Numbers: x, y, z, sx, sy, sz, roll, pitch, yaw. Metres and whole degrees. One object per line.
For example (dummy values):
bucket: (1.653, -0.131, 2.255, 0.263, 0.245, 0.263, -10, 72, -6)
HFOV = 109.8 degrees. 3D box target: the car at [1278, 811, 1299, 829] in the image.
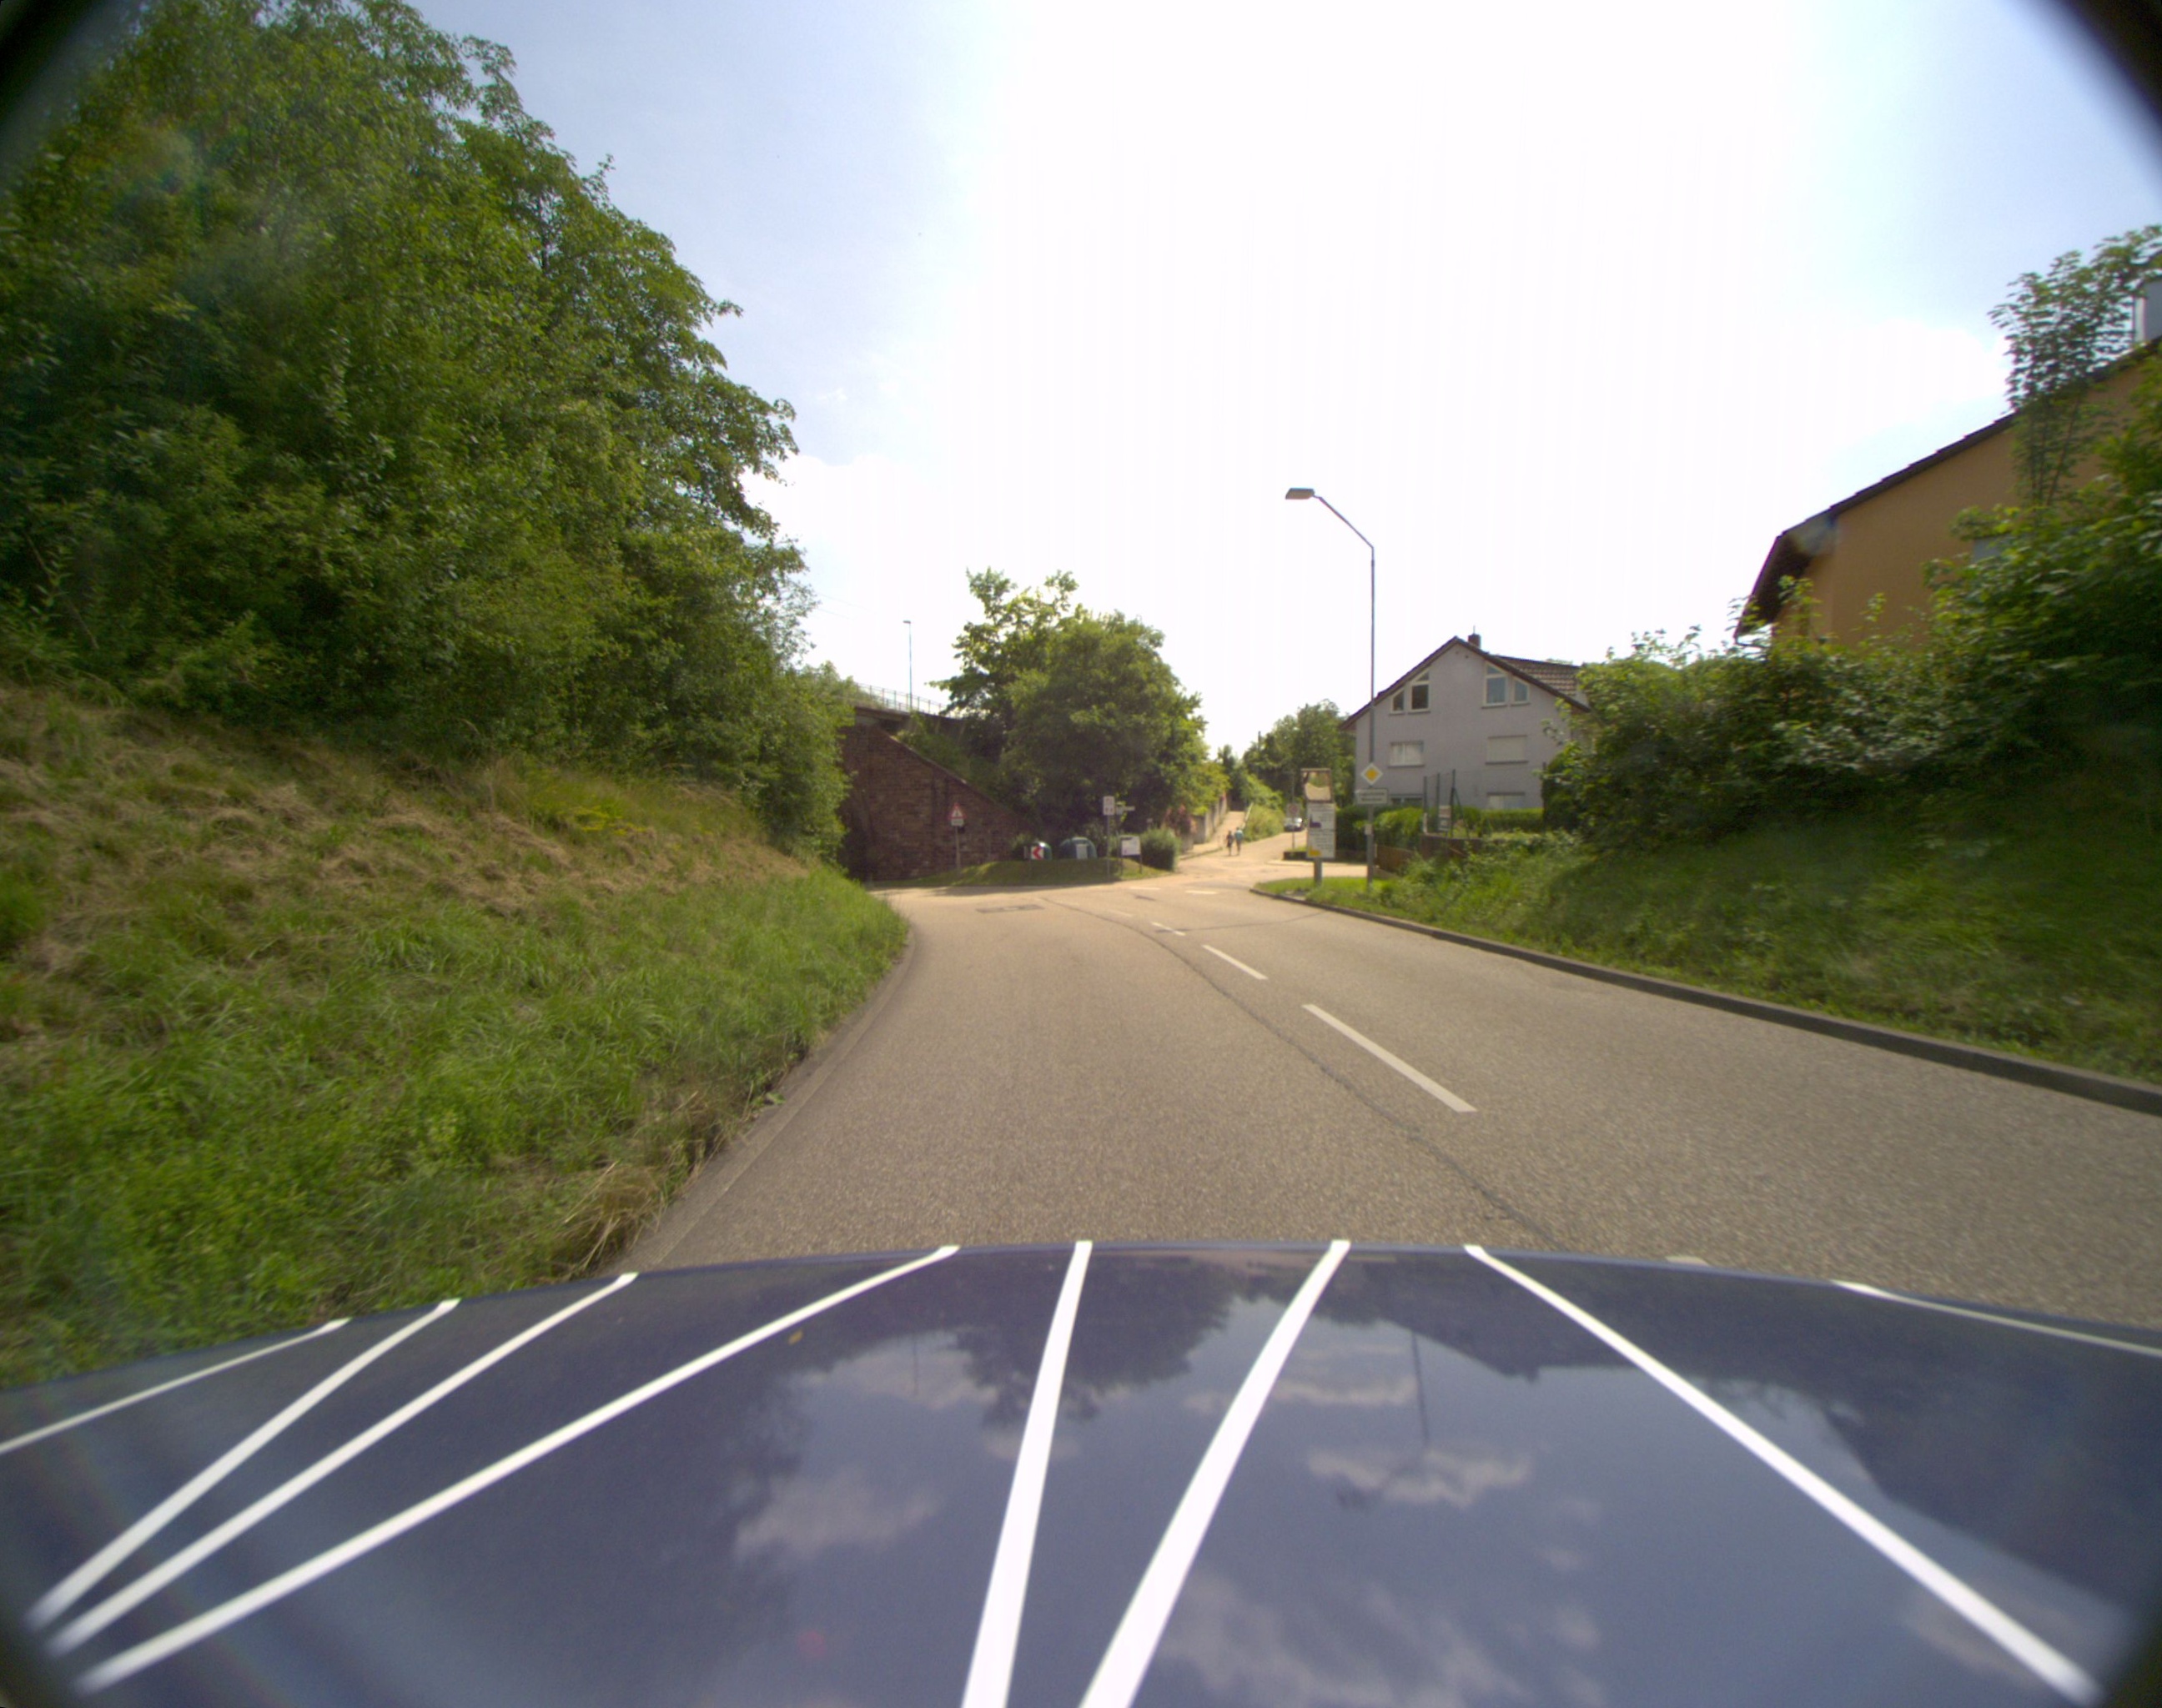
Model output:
car: (20.968, -3.442, 76.840, 1.853, 1.633, 4.395, -3, 1, 14)

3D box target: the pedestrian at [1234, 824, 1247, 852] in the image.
pedestrian: (10.033, -0.988, 47.723, 0.686, 1.703, 0.790, -3, 2, 16)

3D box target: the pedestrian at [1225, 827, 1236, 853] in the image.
pedestrian: (9.325, -0.882, 47.389, 0.573, 1.546, 0.599, -3, 2, 16)
